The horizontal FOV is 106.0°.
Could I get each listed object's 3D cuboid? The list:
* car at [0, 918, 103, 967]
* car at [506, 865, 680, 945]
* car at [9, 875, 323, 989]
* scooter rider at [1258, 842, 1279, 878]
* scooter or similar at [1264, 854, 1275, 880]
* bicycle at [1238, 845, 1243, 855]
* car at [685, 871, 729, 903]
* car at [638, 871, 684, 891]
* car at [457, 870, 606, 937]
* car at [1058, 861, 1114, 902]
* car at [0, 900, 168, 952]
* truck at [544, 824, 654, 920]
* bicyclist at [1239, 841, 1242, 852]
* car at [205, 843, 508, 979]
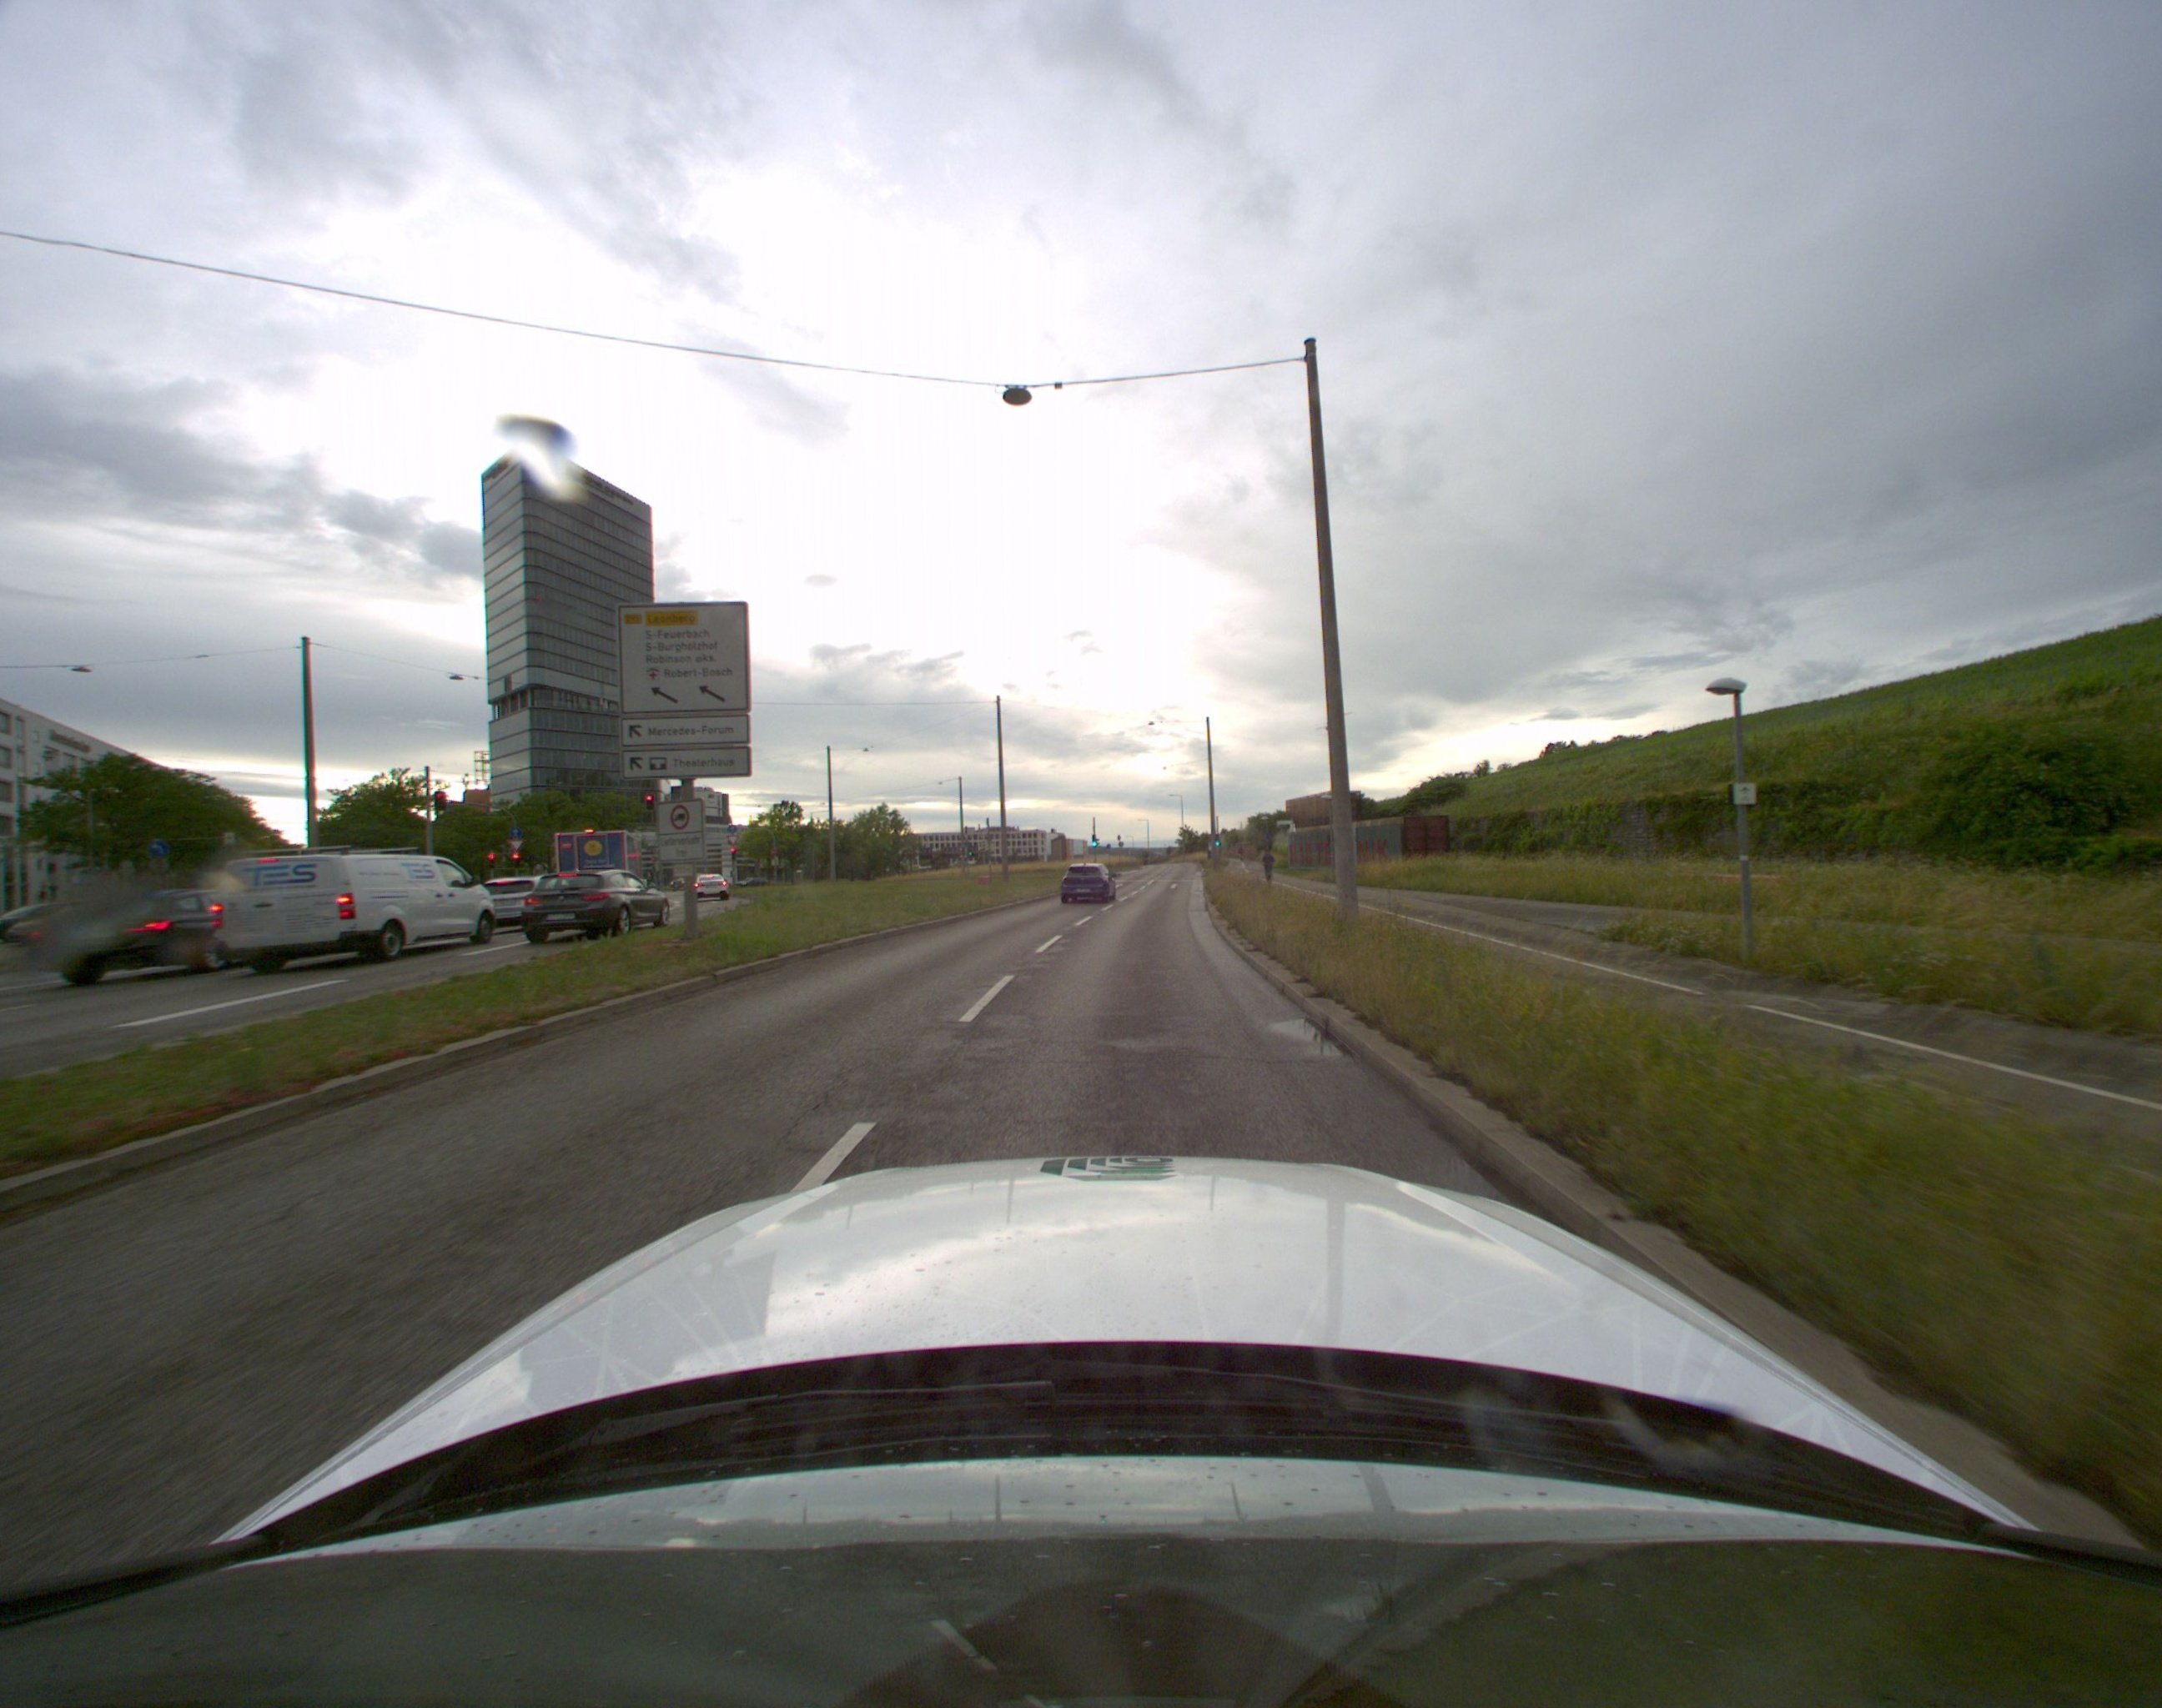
[{"bbox_3d":[-43.715,3.664,33.680,1.823,1.657,3.911,-2,0,-1],"label":"car"},{"bbox_3d":[-10.429,1.007,17.780,1.869,1.461,3.963,-2,0,-9],"label":"car"},{"bbox_3d":[-15.859,1.236,14.492,1.910,1.563,3.974,-4,0,-19],"label":"car"},{"bbox_3d":[8.820,0.277,38.297,0.801,1.628,0.830,-3,-2,7],"label":"scooter rider"},{"bbox_3d":[8.782,0.604,37.996,0.399,1.196,1.116,0,0,7],"label":"scooter or similar"},{"bbox_3d":[17.087,-0.434,87.117,0.547,1.068,0.617,-1,0,10],"label":"bicycle"},{"bbox_3d":[-20.658,1.820,44.872,1.930,1.643,4.351,-2,-1,-28],"label":"car"},{"bbox_3d":[-39.347,2.497,76.315,1.728,1.618,3.755,0,1,15],"label":"car"},{"bbox_3d":[-14.631,1.232,22.013,1.841,1.435,4.498,-4,0,-15],"label":"car"},{"bbox_3d":[0.250,0.996,31.204,1.829,1.393,4.005,-1,1,5],"label":"car"},{"bbox_3d":[-39.303,2.780,32.193,1.819,1.657,3.920,-2,0,6],"label":"car"},{"bbox_3d":[-18.139,0.584,31.036,2.678,3.219,6.498,-1,0,-23],"label":"truck"},{"bbox_3d":[17.076,-0.788,87.133,0.264,1.196,0.316,-1,0,10],"label":"bicyclist"},{"bbox_3d":[-12.933,0.881,15.106,1.907,1.972,5.069,-3,0,-13],"label":"car"}]
